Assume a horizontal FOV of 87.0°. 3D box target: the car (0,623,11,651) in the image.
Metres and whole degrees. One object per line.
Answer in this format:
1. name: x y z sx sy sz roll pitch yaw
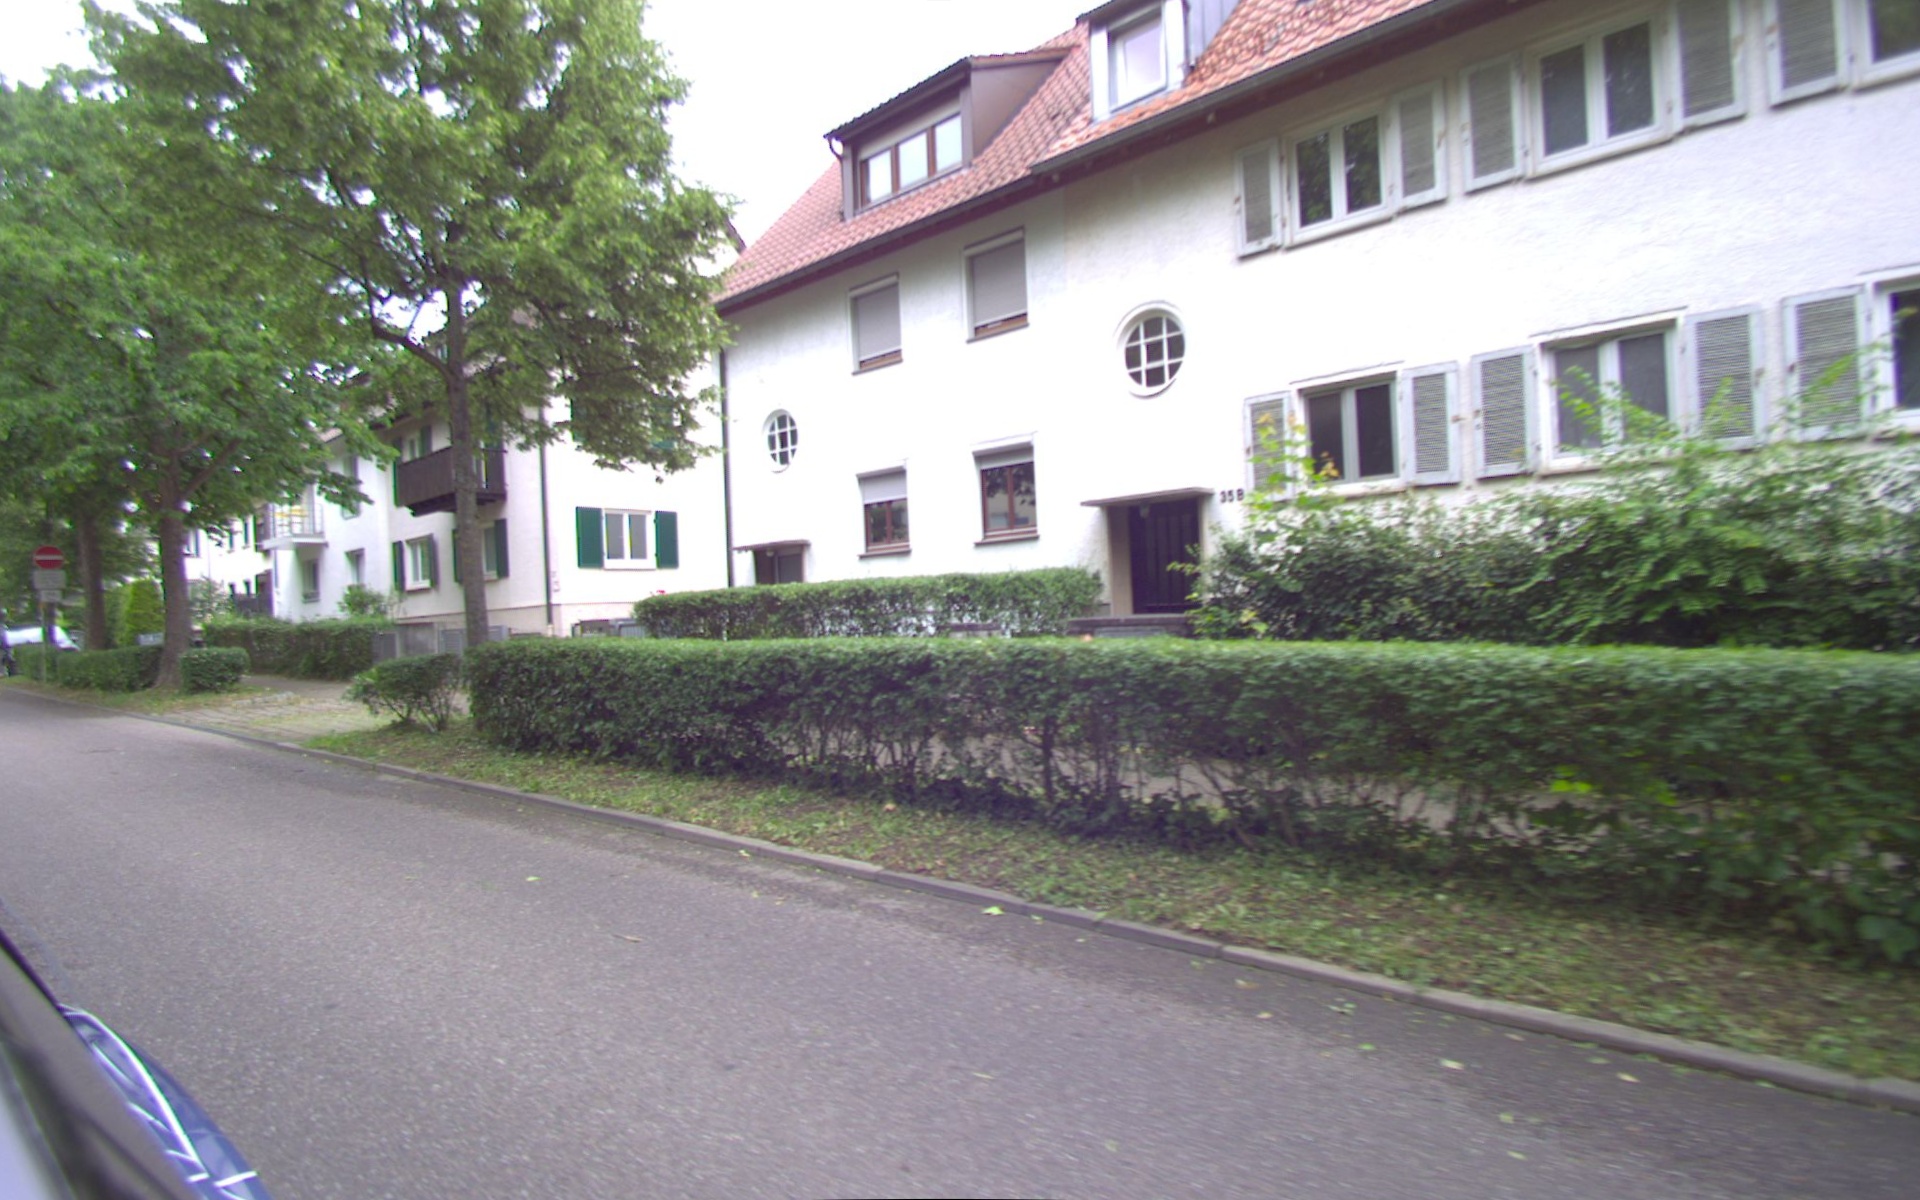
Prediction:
1. car: -83.243 3.209 84.057 1.959 2.365 6.335 -2 -1 17

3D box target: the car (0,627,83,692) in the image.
1. car: -28.821 1.806 31.171 4.445 1.767 1.808 -2 0 37

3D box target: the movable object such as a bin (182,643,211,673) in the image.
1. movable object such as a bin: -24.407 1.848 32.353 0.639 0.947 0.555 -2 -1 35
